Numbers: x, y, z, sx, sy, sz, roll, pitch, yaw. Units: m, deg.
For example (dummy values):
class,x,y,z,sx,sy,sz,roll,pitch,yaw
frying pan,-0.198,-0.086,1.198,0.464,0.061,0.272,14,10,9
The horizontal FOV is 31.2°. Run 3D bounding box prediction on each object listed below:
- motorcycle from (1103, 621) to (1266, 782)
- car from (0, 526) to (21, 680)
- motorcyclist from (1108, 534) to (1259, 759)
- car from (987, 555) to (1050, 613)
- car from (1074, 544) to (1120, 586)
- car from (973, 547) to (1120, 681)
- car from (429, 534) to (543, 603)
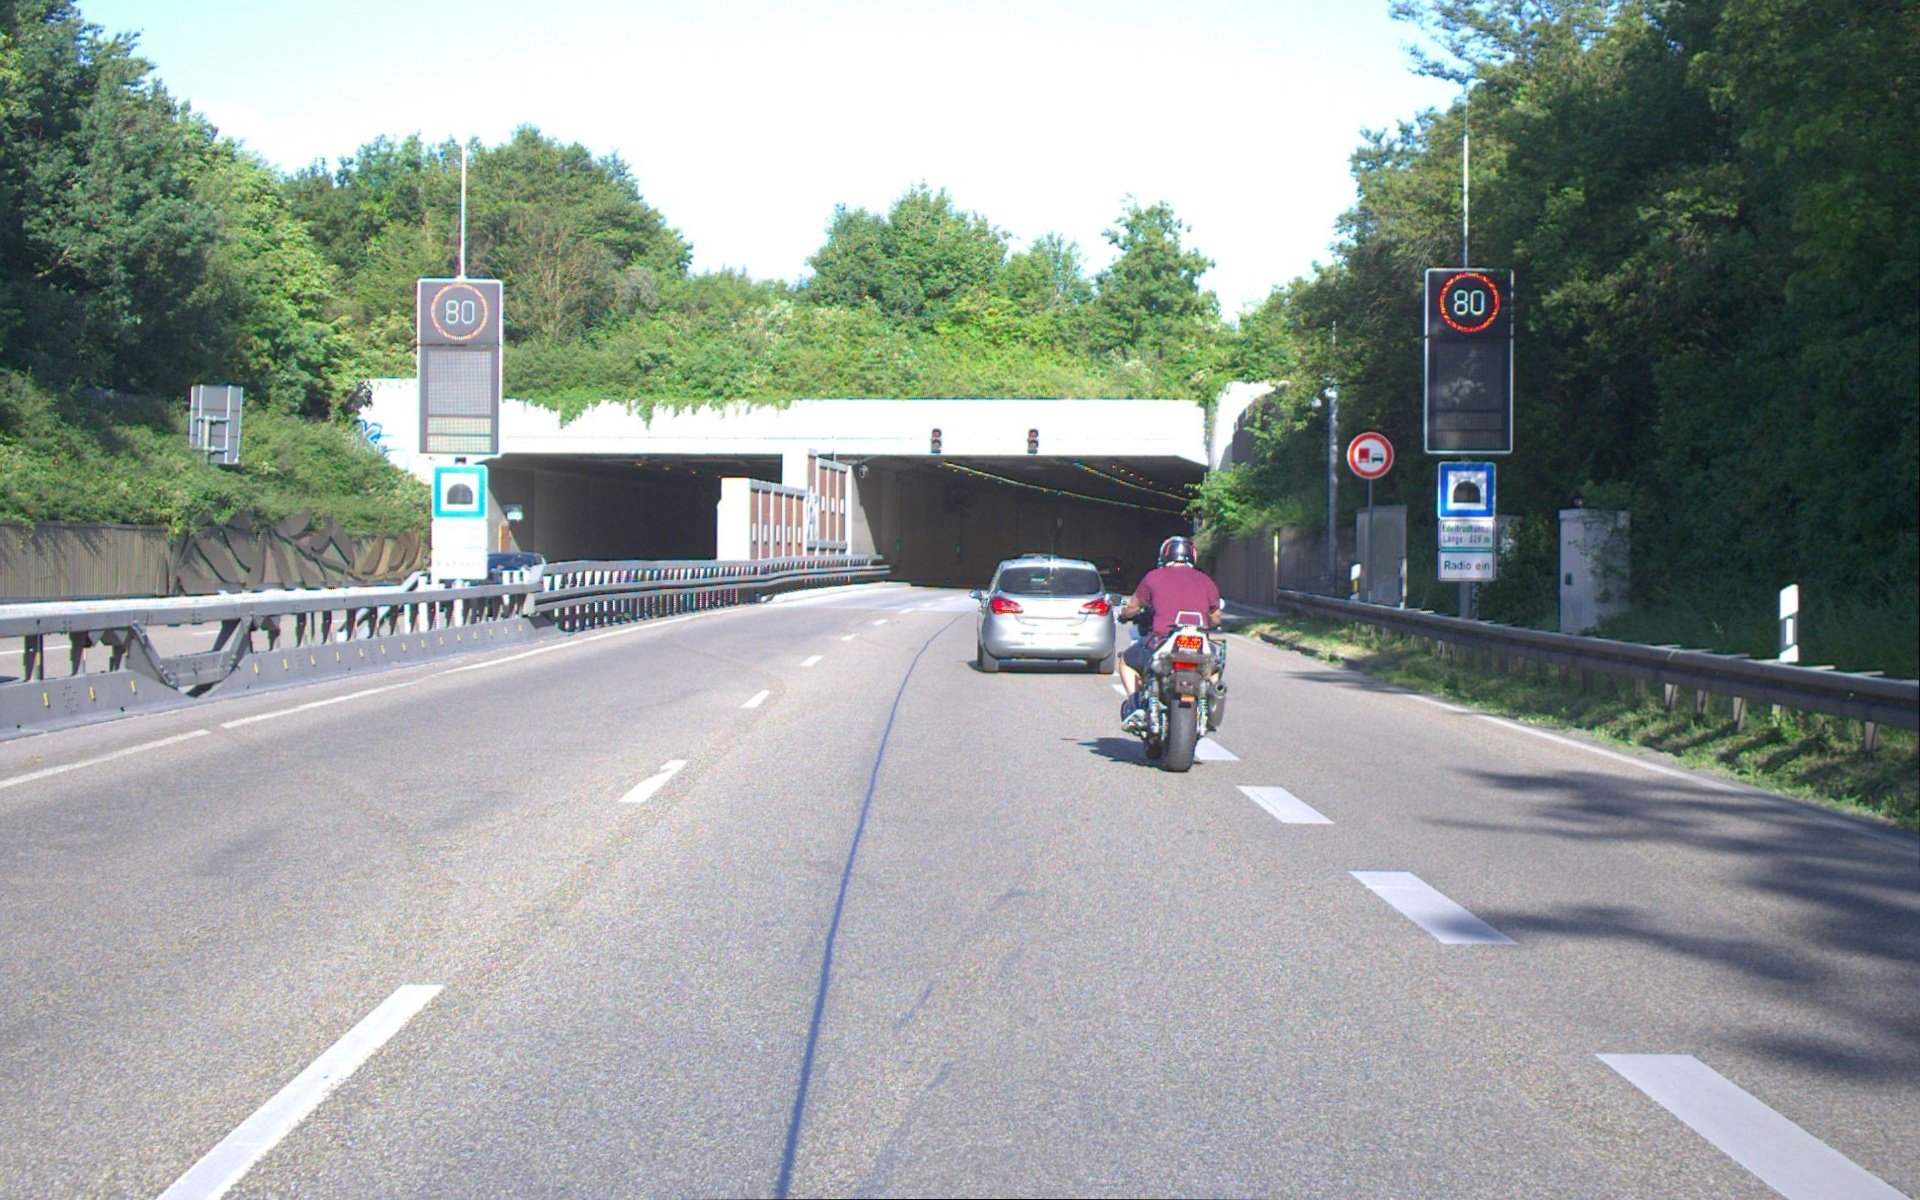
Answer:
class,x,y,z,sx,sy,sz,roll,pitch,yaw
motorcycle,1.536,0.679,24.048,0.858,0.988,2.729,2,1,-1
car,-11.426,0.054,35.275,1.994,1.652,4.938,2,2,2
motorcyclist,1.552,0.307,24.060,0.883,1.496,1.063,2,2,-2
car,2.006,-0.580,119.674,1.993,1.919,4.001,1,1,-1
car,6.467,-1.653,161.718,1.994,1.919,4.000,1,1,4
car,1.082,0.149,44.808,1.667,1.546,4.001,2,2,-1
car,-11.133,-0.763,80.990,1.993,1.481,4.200,1,2,1
